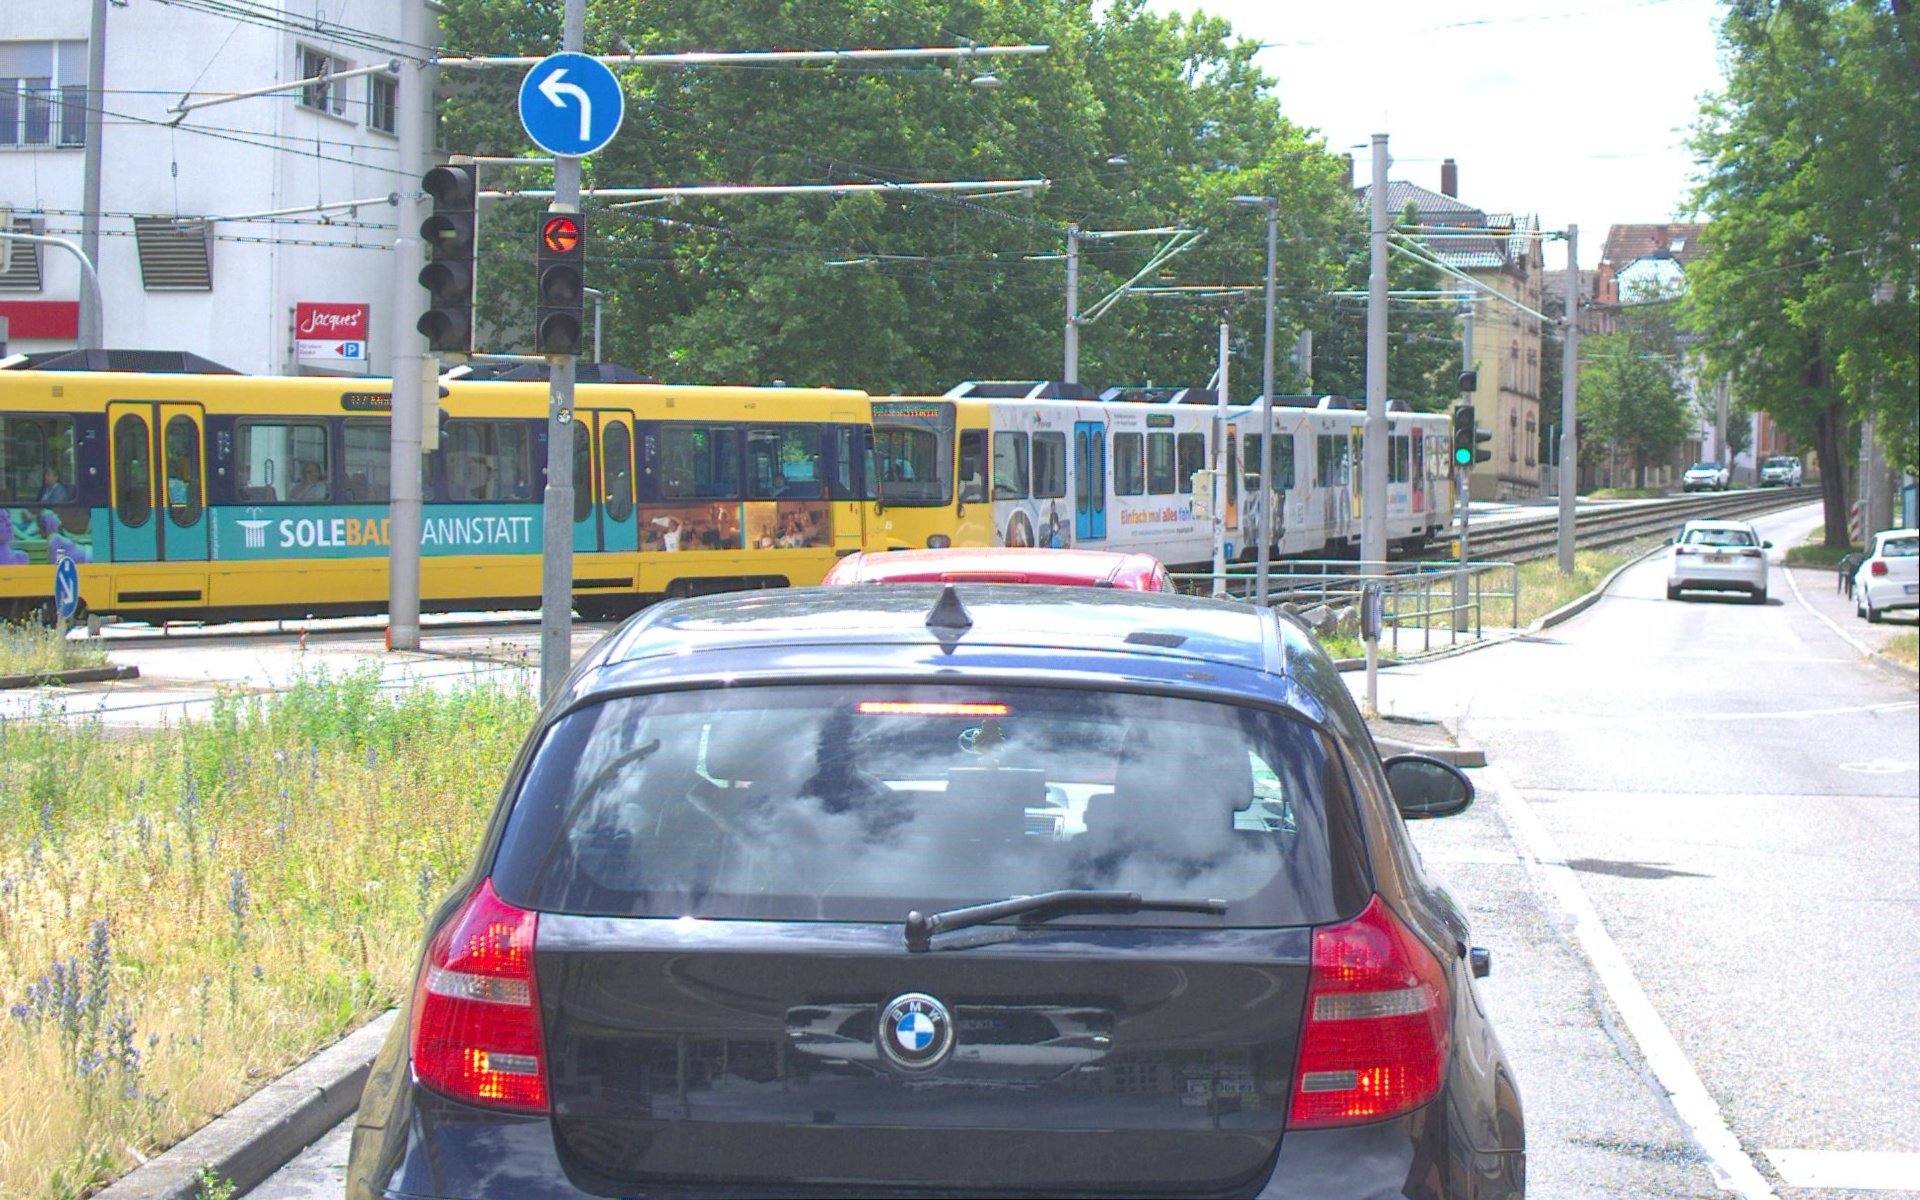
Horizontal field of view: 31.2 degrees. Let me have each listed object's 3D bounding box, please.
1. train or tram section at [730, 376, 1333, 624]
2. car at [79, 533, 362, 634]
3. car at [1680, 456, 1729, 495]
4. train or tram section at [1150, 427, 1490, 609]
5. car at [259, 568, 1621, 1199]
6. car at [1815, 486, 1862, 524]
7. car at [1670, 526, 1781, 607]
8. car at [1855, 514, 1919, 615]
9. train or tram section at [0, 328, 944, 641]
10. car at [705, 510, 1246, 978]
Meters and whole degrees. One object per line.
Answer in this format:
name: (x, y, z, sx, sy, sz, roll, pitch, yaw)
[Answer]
train or tram section: (2.098, -1.628, 64.036, 3.754, 3.866, 20.610, 0, 0, 23)
car: (-12.084, -0.275, 56.312, 4.158, 1.579, 1.858, -1, 0, -44)
car: (40.667, -6.778, 187.755, 1.996, 2.007, 3.996, 0, 0, 21)
train or tram section: (9.080, -1.793, 82.483, 3.753, 3.801, 20.032, 0, 0, 19)
car: (-0.111, 0.682, 6.302, 1.701, 1.447, 4.000, 0, 0, -3)
car: (37.157, -4.011, 145.318, 1.816, 1.463, 3.997, 3, 2, 15)
car: (14.316, -0.658, 64.446, 1.816, 1.463, 3.999, 0, 1, 10)
car: (15.579, -0.569, 56.057, 1.788, 1.590, 3.998, 0, 0, 13)
train or tram section: (-8.571, -1.462, 47.958, 3.759, 3.816, 20.097, 0, 0, 44)
car: (0.209, 0.449, 12.850, 1.625, 1.468, 3.999, 0, 0, 6)
